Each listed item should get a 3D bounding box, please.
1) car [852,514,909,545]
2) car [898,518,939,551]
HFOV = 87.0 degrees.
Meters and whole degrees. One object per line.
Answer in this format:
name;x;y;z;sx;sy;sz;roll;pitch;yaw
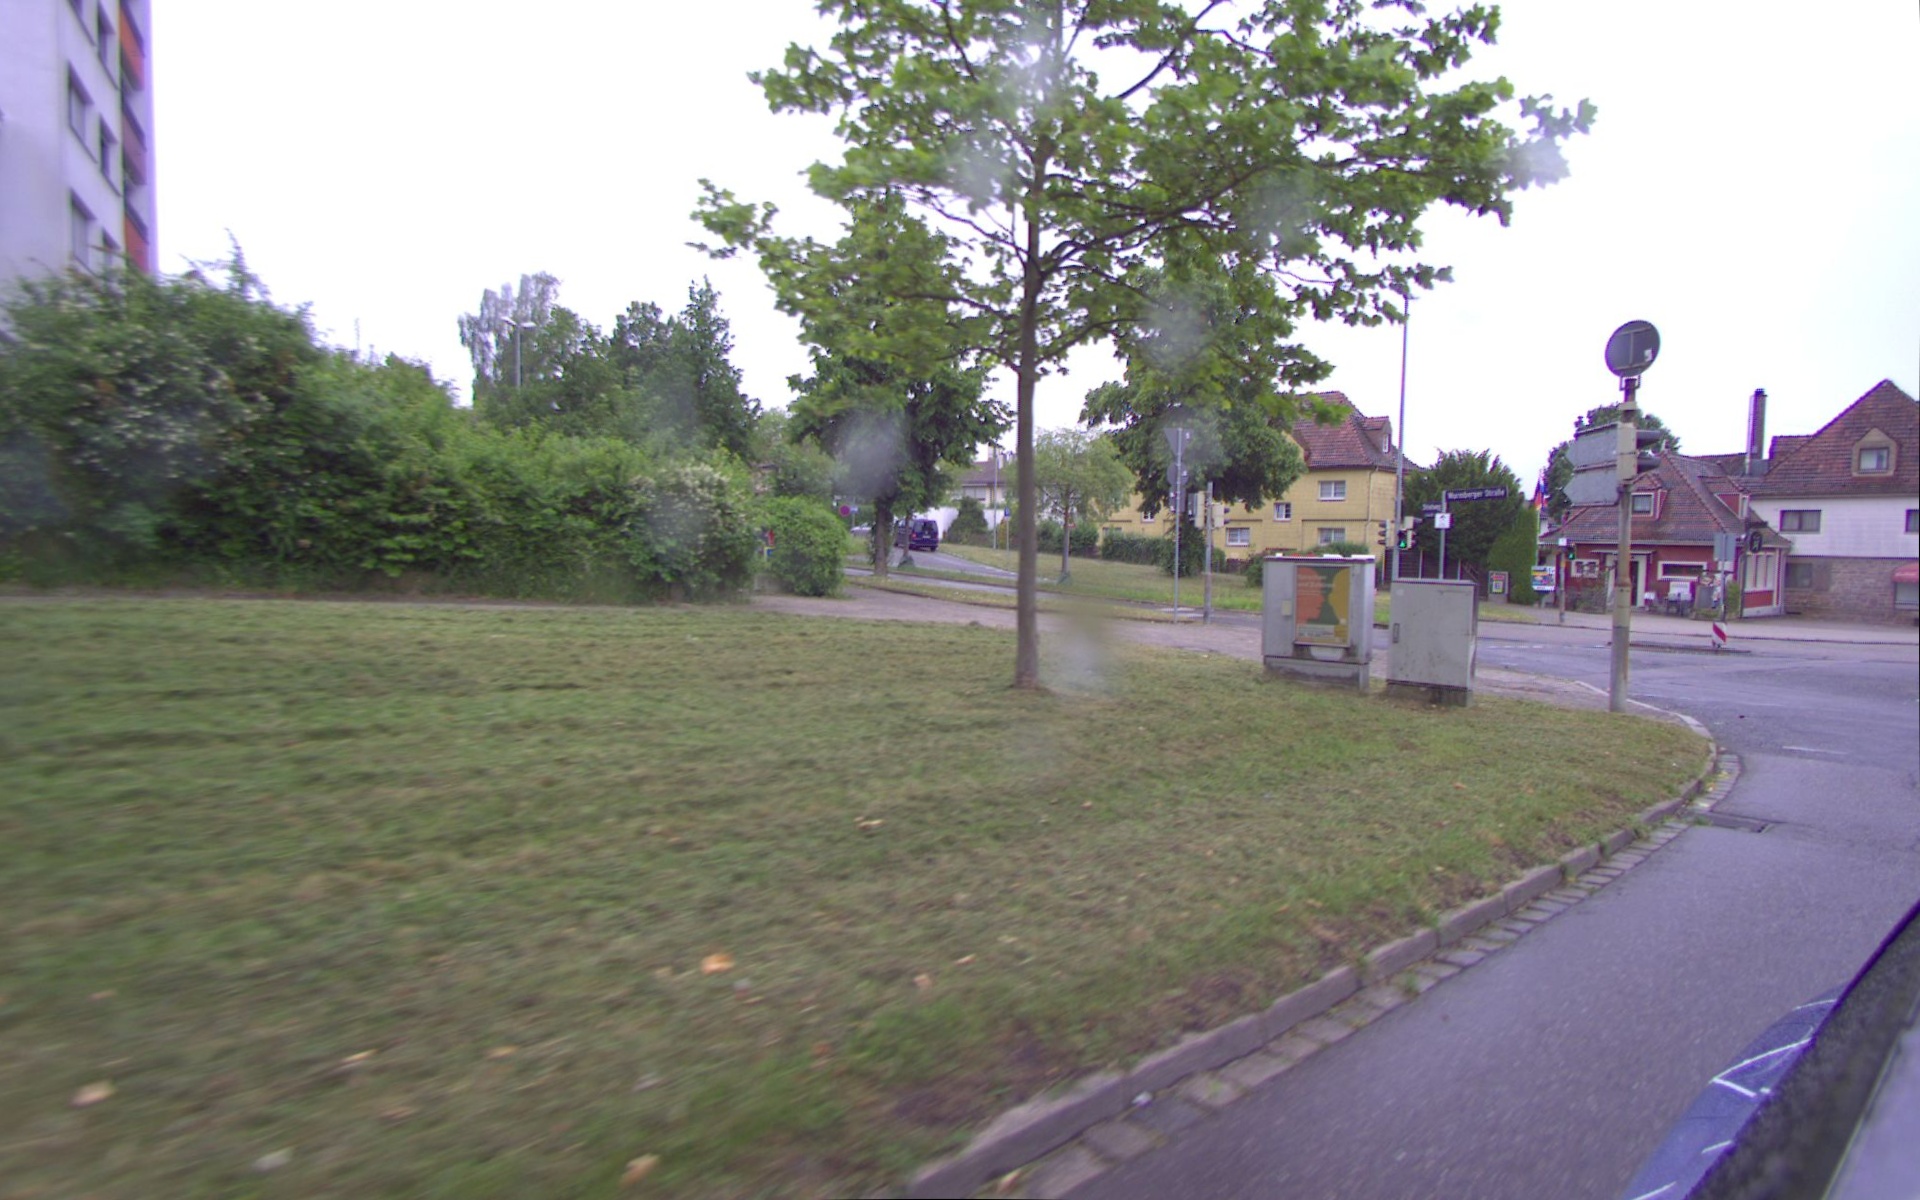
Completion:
car;-5.486;-4.869;69.462;1.962;1.960;4.276;1;3;-35
car;-2.696;-4.139;64.387;1.959;1.960;4.283;3;3;-10
